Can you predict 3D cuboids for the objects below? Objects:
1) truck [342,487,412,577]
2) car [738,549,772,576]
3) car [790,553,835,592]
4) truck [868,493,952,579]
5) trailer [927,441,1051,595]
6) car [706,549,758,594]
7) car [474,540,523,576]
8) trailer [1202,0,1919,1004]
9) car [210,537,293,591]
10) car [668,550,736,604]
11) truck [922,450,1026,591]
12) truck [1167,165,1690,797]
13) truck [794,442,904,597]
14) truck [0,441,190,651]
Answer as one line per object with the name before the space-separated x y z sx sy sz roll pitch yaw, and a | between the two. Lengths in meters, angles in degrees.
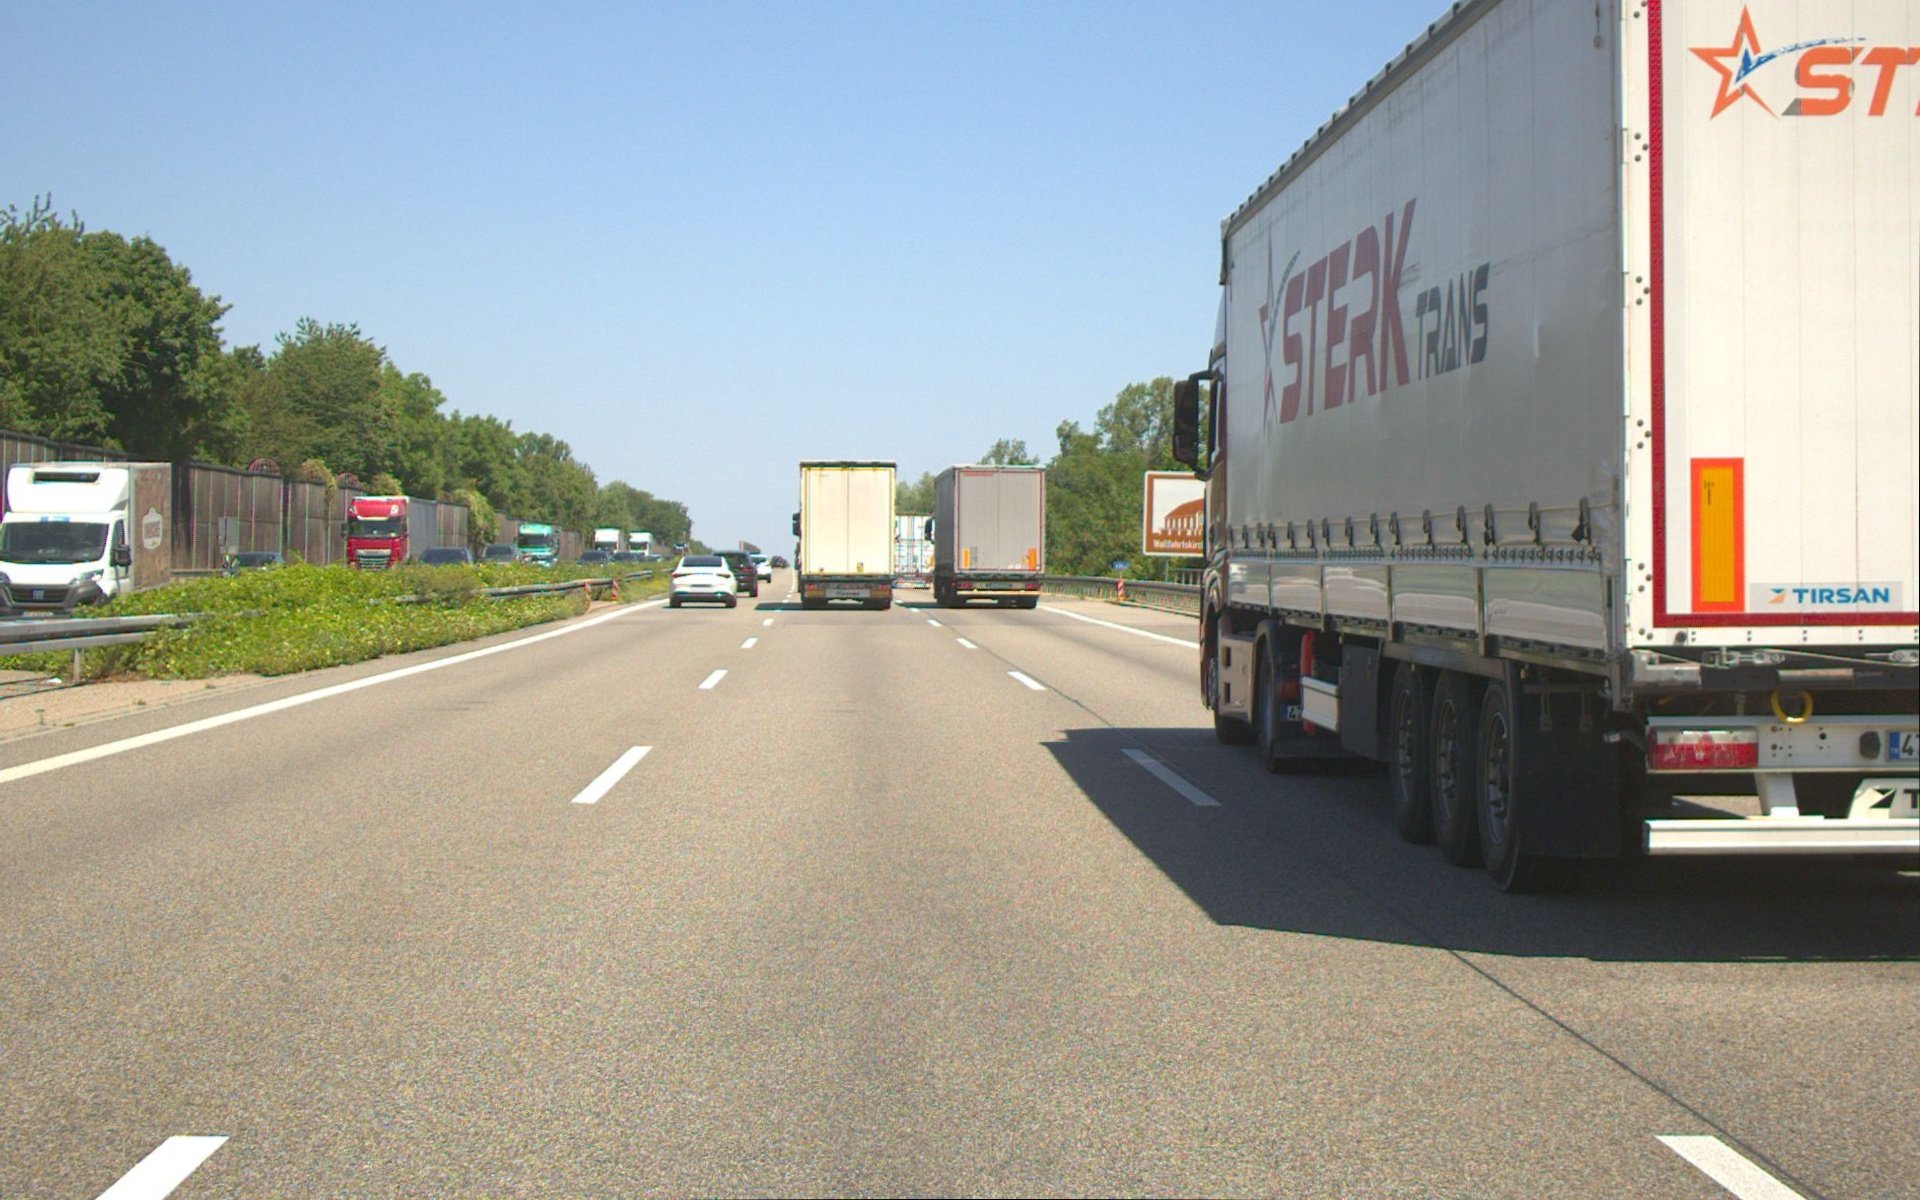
truck | -26.895 -3.118 158.762 2.487 4.073 4.677 0 1 0
car | -12.146 -2.230 203.919 1.855 1.611 4.001 0 1 -6
car | -6.205 -1.162 144.766 1.855 1.611 4.000 0 1 -2
truck | -2.761 -3.467 186.041 3.373 4.289 11.452 3 1 -6
trailer | 0.739 -2.366 102.073 2.703 4.201 13.214 1 1 -3
car | -8.350 -1.047 125.965 1.855 1.611 4.001 0 1 -3
car | -23.787 -2.158 177.323 1.993 1.809 5.221 1 1 -3
trailer | 3.451 -0.714 19.196 2.707 4.074 14.152 1 1 -2
car | -21.378 -1.096 103.828 1.813 1.594 4.000 0 1 -2
car | -7.276 -0.655 97.139 1.855 1.481 4.001 0 1 -4
truck | 0.372 -2.457 108.264 2.691 4.201 7.839 1 1 -3
truck | 3.256 -0.817 25.819 2.707 4.074 6.965 1 1 -2
truck | -3.282 -2.244 98.499 2.706 4.072 13.475 1 1 -3
truck | -14.932 -0.923 58.331 2.409 3.341 6.920 0 1 -2
